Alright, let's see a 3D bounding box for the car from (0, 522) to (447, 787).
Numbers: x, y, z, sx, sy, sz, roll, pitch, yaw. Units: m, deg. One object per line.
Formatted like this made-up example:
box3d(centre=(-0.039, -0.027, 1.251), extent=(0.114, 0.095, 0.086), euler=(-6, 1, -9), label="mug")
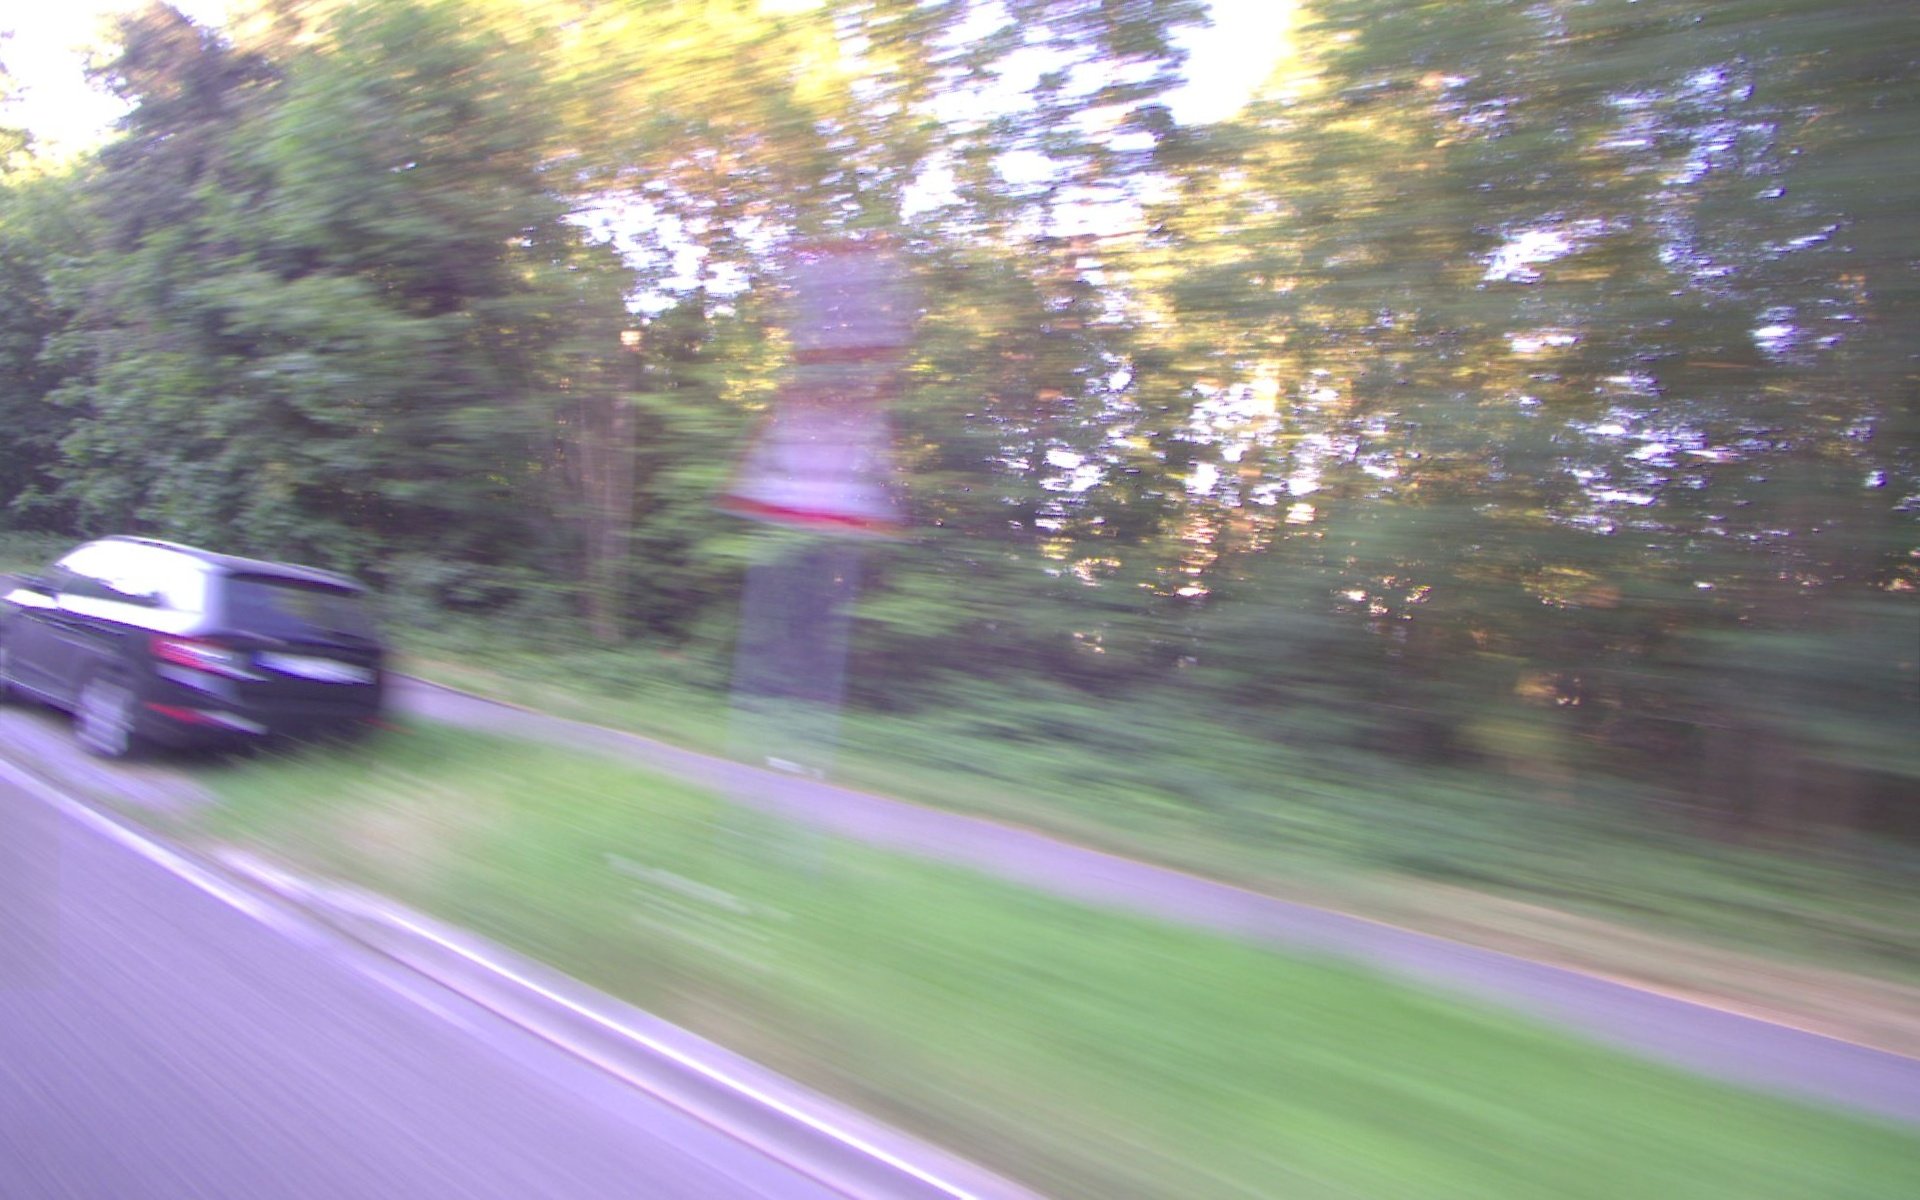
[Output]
box3d(centre=(-5.913, 0.345, 7.736), extent=(3.879, 1.420, 1.667), euler=(6, -4, 34), label="car")
